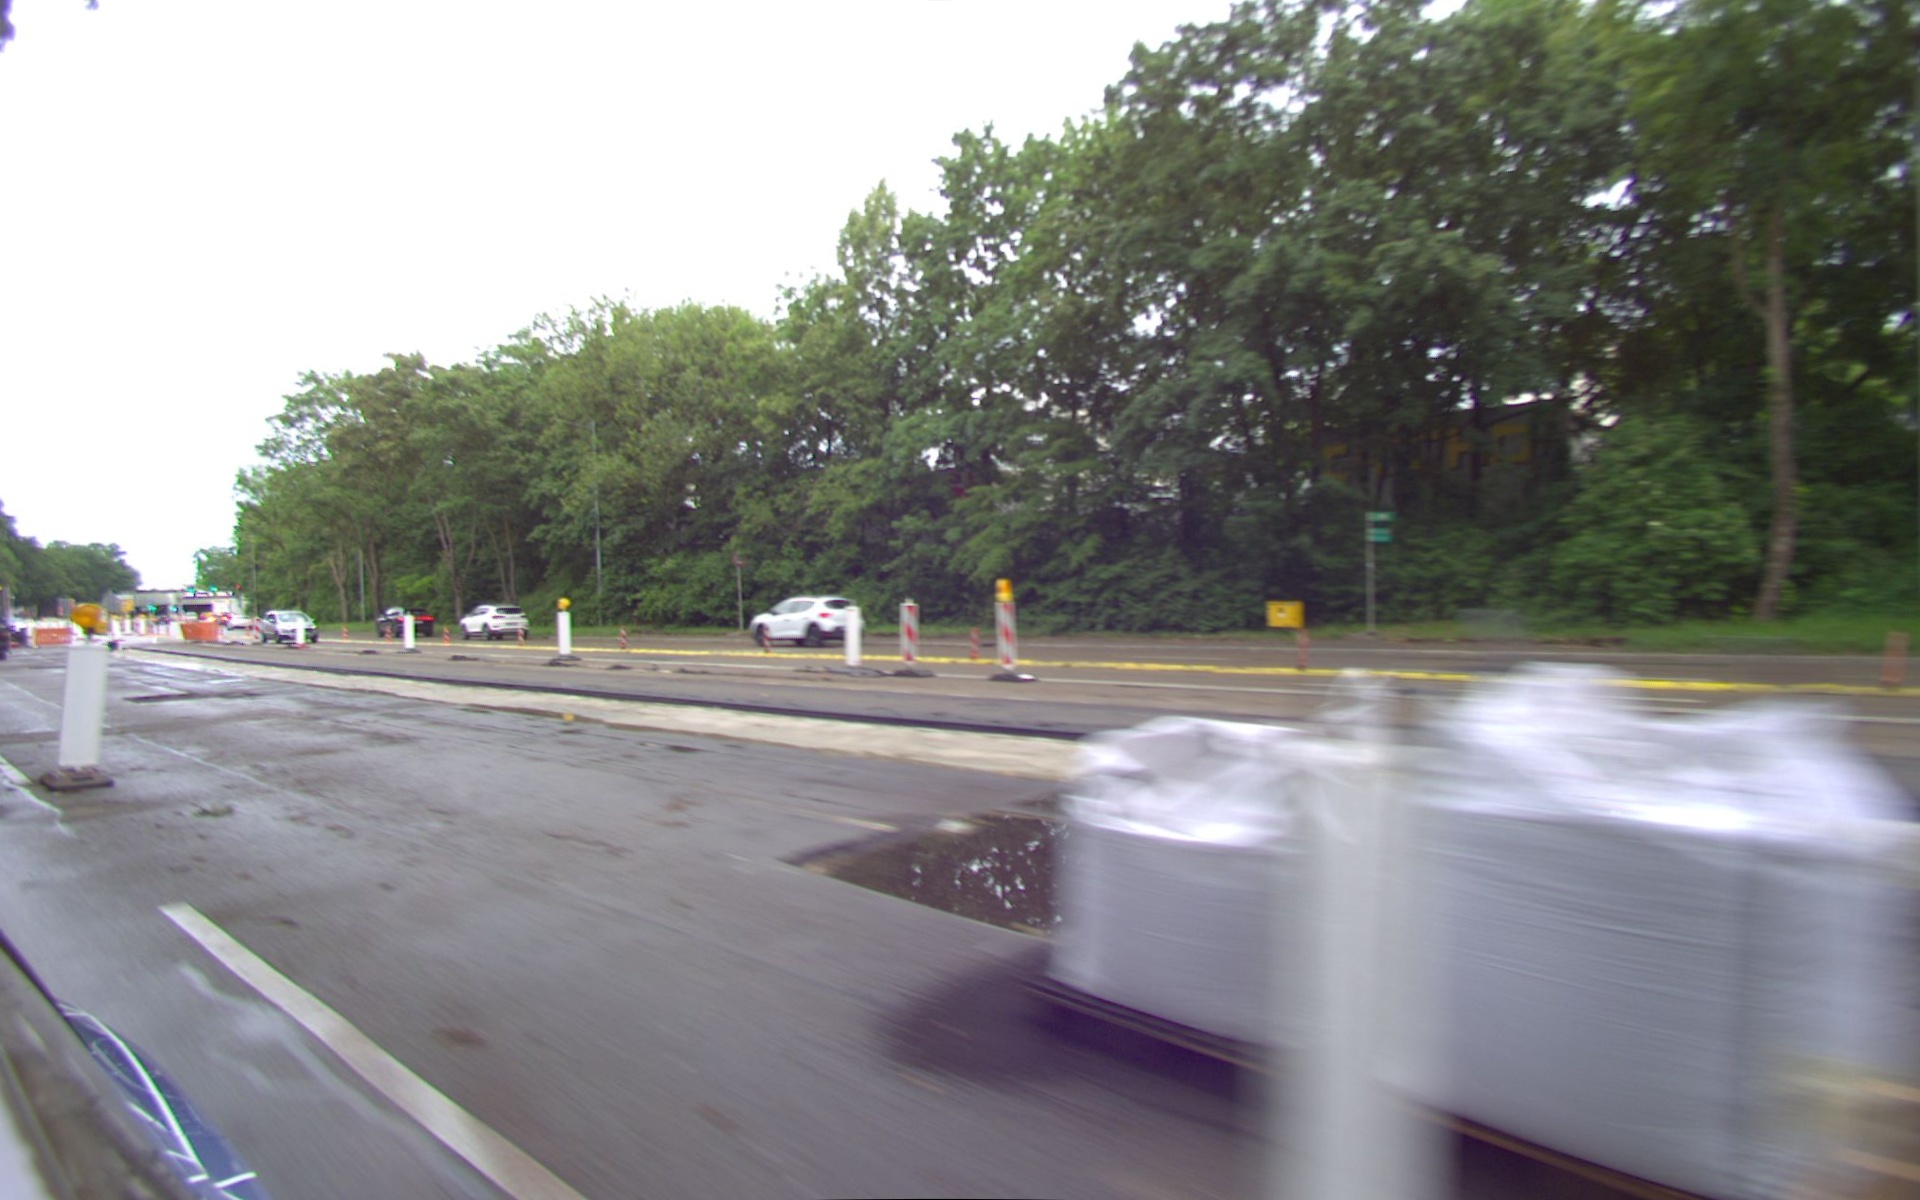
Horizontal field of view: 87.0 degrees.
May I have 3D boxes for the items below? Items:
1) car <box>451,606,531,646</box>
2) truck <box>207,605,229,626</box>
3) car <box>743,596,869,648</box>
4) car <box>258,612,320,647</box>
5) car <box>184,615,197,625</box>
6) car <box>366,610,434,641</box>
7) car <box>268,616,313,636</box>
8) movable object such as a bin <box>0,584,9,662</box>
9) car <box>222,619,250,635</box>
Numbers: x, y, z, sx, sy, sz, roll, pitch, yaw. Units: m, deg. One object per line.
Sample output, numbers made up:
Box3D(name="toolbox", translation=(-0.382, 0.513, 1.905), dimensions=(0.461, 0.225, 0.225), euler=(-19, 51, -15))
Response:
Box3D(name="car", translation=(-22.239, 1.217, 47.873), dimensions=(4.377, 1.764, 1.759), euler=(-2, 0, 40))
Box3D(name="truck", translation=(-146.434, 3.043, 199.748), dimensions=(3.101, 3.860, 9.670), euler=(0, 0, -34))
Box3D(name="car", translation=(-4.876, 0.707, 31.718), dimensions=(4.156, 1.553, 1.649), euler=(-2, -2, 41))
Box3D(name="car", translation=(-33.350, 1.435, 50.251), dimensions=(3.862, 1.596, 1.769), euler=(-2, 1, 45))
Box3D(name="car", translation=(-128.451, 3.274, 168.887), dimensions=(1.653, 1.626, 3.778), euler=(0, -1, -37))
Box3D(name="car", translation=(-31.627, 1.425, 57.129), dimensions=(4.912, 1.676, 1.758), euler=(-2, -2, 40))
Box3D(name="car", translation=(-51.122, 1.981, 77.275), dimensions=(4.680, 1.463, 1.765), euler=(-2, 0, 42))
Box3D(name="movable object such as a bin", translation=(-39.045, 0.936, 40.123), dimensions=(5.248, 3.008, 1.783), euler=(-2, 0, 45))
Box3D(name="car", translation=(-69.130, 2.539, 96.655), dimensions=(1.762, 1.437, 4.476), euler=(-1, 0, -41))
